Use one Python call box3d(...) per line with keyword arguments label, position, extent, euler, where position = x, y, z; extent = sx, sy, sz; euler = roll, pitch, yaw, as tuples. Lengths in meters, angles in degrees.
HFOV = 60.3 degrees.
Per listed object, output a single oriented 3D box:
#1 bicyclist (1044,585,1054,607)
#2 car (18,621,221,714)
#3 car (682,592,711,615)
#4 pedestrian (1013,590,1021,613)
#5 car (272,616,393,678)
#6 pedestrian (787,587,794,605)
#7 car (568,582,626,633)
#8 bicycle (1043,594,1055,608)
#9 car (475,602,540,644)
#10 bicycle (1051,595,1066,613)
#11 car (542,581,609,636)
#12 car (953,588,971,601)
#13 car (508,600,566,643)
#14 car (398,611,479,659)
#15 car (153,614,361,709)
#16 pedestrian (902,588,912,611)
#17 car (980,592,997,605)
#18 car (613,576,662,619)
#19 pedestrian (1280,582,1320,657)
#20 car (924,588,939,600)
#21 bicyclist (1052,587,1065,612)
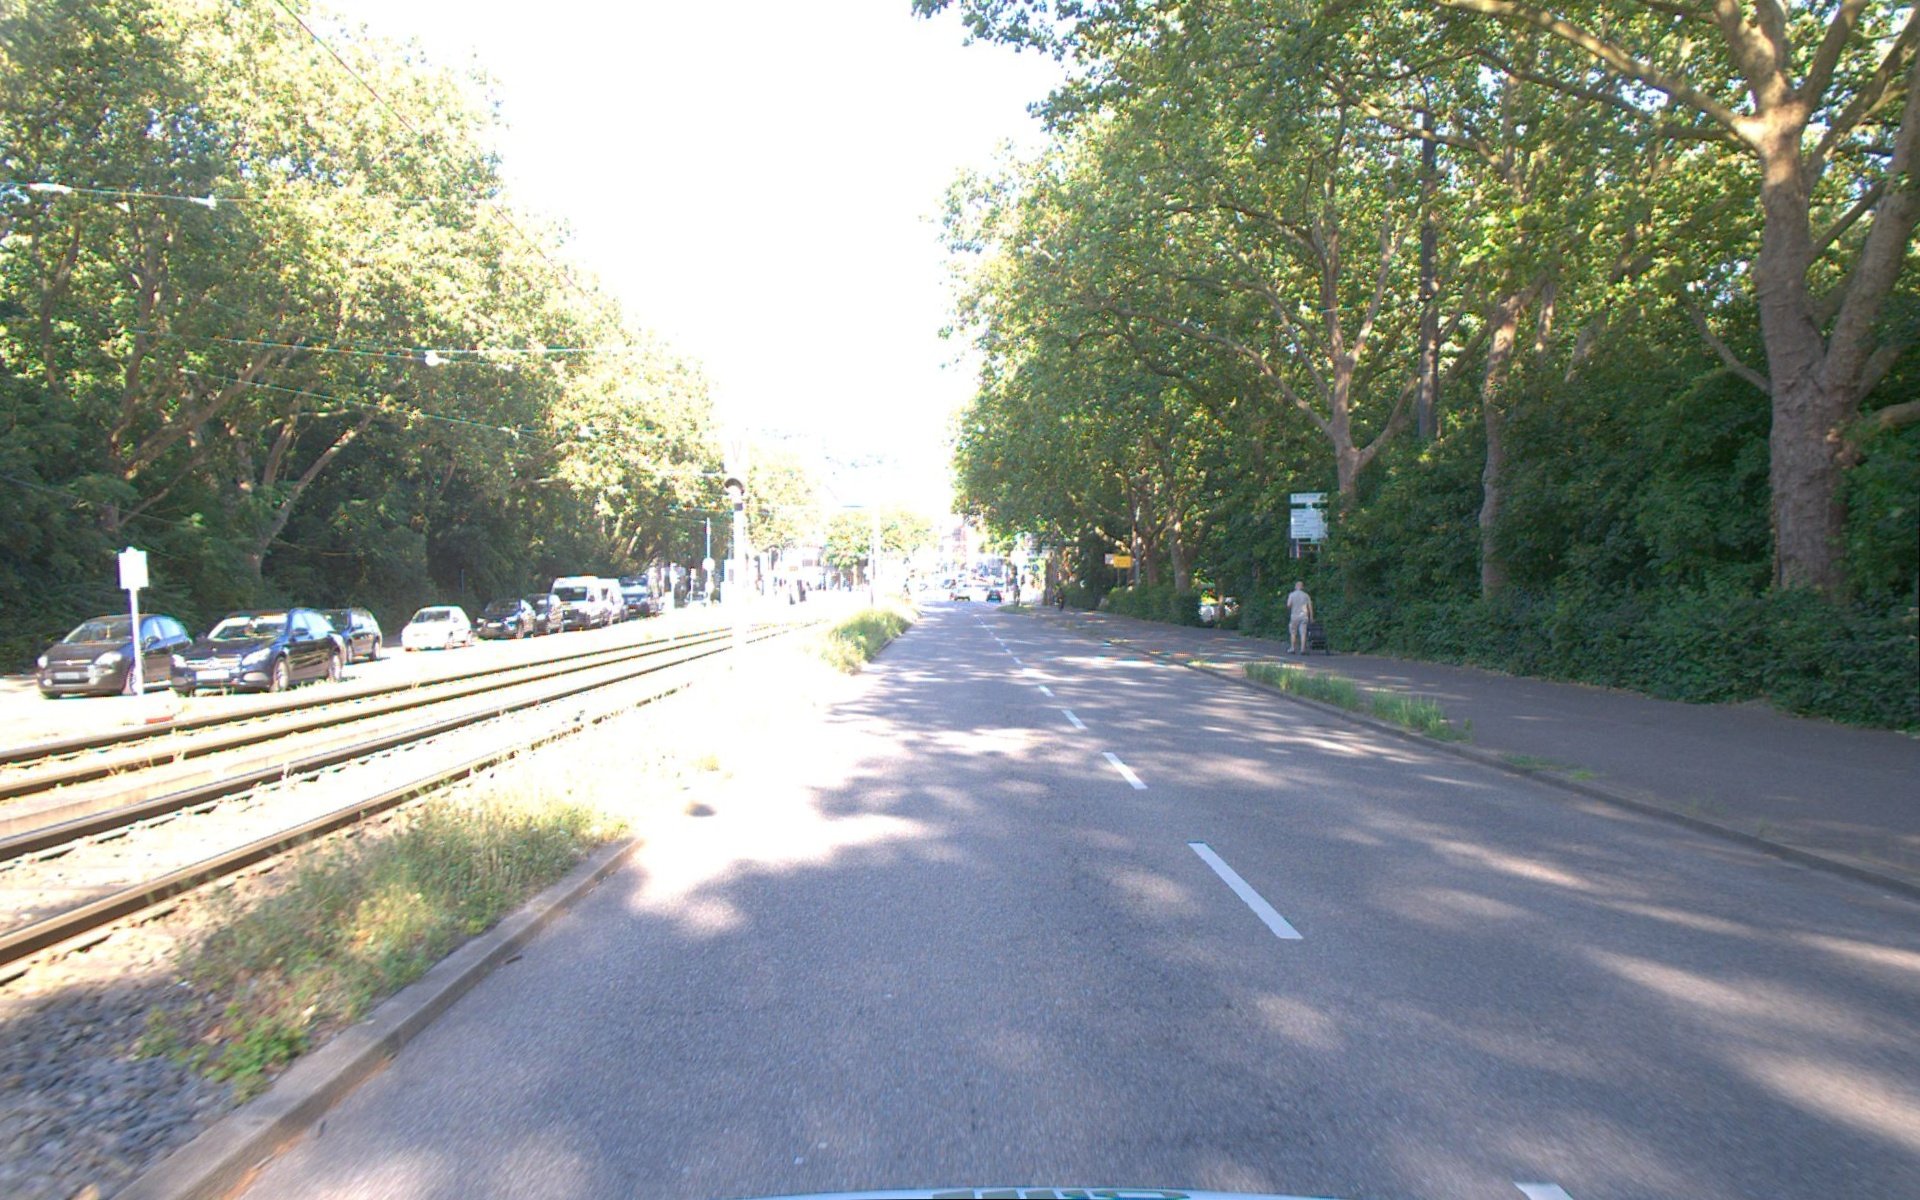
box3d(label="bicyclist", position=(6.918, -0.317, 128.529), extent=(0.685, 1.758, 1.079), euler=(-1, 0, -3))
box3d(label="car", position=(-15.922, 1.226, 31.605), extent=(1.791, 1.531, 4.391), euler=(-2, 0, -4))
box3d(label="car", position=(-20.322, 0.247, 127.522), extent=(1.866, 1.680, 3.969), euler=(-2, 0, -5))
box3d(label="pedestrian", position=(4.658, 0.128, 135.157), extent=(0.643, 1.903, 0.677), euler=(-1, 0, -2))
box3d(label="car", position=(-16.886, 1.229, 44.710), extent=(1.791, 1.462, 4.321), euler=(-2, 0, -4))
box3d(label="pedestrian", position=(-15.066, -0.321, 147.023), extent=(0.581, 1.571, 0.626), euler=(0, -1, -1))
box3d(label="car", position=(-19.651, 0.406, 89.794), extent=(2.141, 2.564, 6.265), euler=(-2, 0, -5))
box3d(label="bicycle", position=(6.920, 0.069, 128.528), extent=(0.685, 1.127, 1.929), euler=(-1, 0, -3))
box3d(label="car", position=(-18.310, 0.899, 67.078), extent=(1.704, 1.582, 3.879), euler=(-2, 0, -4))
box3d(label="bicycle", position=(6.224, 0.243, 104.472), extent=(0.750, 1.127, 1.799), euler=(-1, 1, -2))
box3d(label="car", position=(-18.980, 0.414, 81.848), extent=(2.140, 2.564, 6.046), euler=(-2, 0, -4))
box3d(label="car", position=(0.252, -0.676, 191.727), extent=(1.890, 1.498, 4.853), euler=(0, 1, -2))
box3d(label="car", position=(-18.762, 0.935, 73.470), extent=(1.704, 1.758, 3.879), euler=(-2, 0, -4))
box3d(label="car", position=(-17.619, 1.149, 56.035), extent=(1.704, 1.462, 3.849), euler=(-2, 0, -4))
box3d(label="car", position=(-12.584, 1.045, 29.977), extent=(1.882, 1.440, 4.747), euler=(-3, 0, -3))
box3d(label="pedestrian", position=(-3.773, -0.058, 117.484), extent=(0.510, 1.595, 0.507), euler=(-3, 0, 28))
box3d(label="car", position=(3.196, -0.182, 186.809), extent=(1.764, 1.464, 4.044), euler=(1, 1, -2))
box3d(label="car", position=(-20.347, -0.144, 104.636), extent=(2.140, 2.564, 6.028), euler=(-2, 0, -3))
box3d(label="pedestrian", position=(7.773, 0.434, 37.875), extent=(0.635, 1.664, 0.927), euler=(-3, 0, 0))
box3d(label="car", position=(-3.449, -0.748, 200.729), extent=(1.772, 1.478, 3.998), euler=(0, 0, -2))
box3d(label="bicyclist", position=(6.215, -0.021, 104.475), extent=(0.751, 1.539, 0.650), euler=(-1, 0, -2))
